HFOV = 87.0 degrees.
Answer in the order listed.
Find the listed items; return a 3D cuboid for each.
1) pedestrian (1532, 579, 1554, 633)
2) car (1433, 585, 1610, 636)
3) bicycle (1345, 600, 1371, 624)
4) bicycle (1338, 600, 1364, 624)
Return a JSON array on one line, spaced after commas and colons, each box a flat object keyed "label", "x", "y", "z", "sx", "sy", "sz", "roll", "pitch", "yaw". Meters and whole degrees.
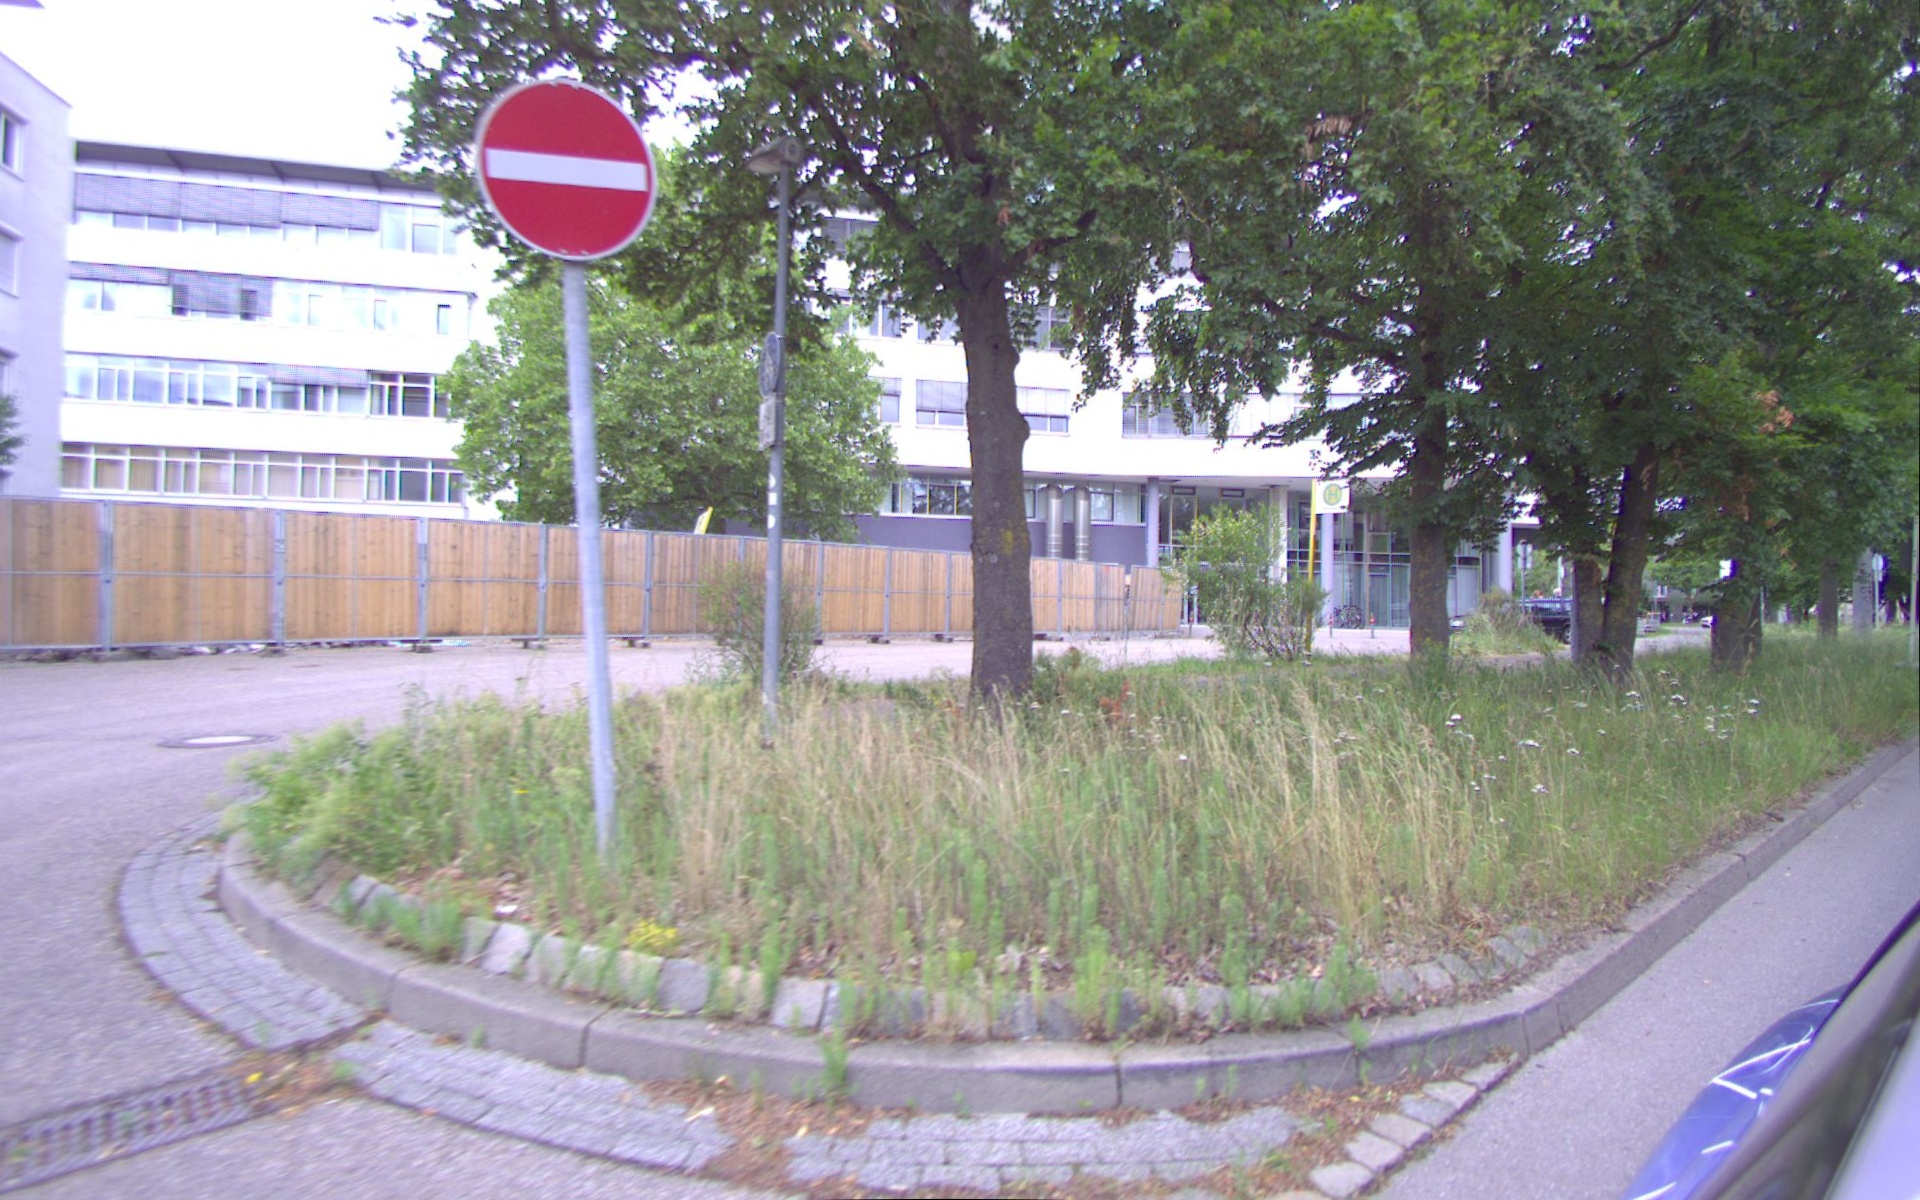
[{"label": "pedestrian", "x": 19.647, "y": 0.208, "z": 34.105, "sx": 0.492, "sy": 1.747, "sz": 0.533, "roll": 3, "pitch": -2, "yaw": 19}, {"label": "car", "x": 18.264, "y": 0.326, "z": 33.091, "sx": 4.659, "sy": 1.535, "sz": 1.869, "roll": 1, "pitch": 1, "yaw": 5}, {"label": "bicycle", "x": 18.298, "y": 0.555, "z": 46.595, "sx": 0.384, "sy": 1.086, "sz": 1.403, "roll": -1, "pitch": -1, "yaw": -12}, {"label": "bicycle", "x": 17.839, "y": 0.544, "z": 46.176, "sx": 0.384, "sy": 1.086, "sz": 1.403, "roll": -1, "pitch": -1, "yaw": -12}]
